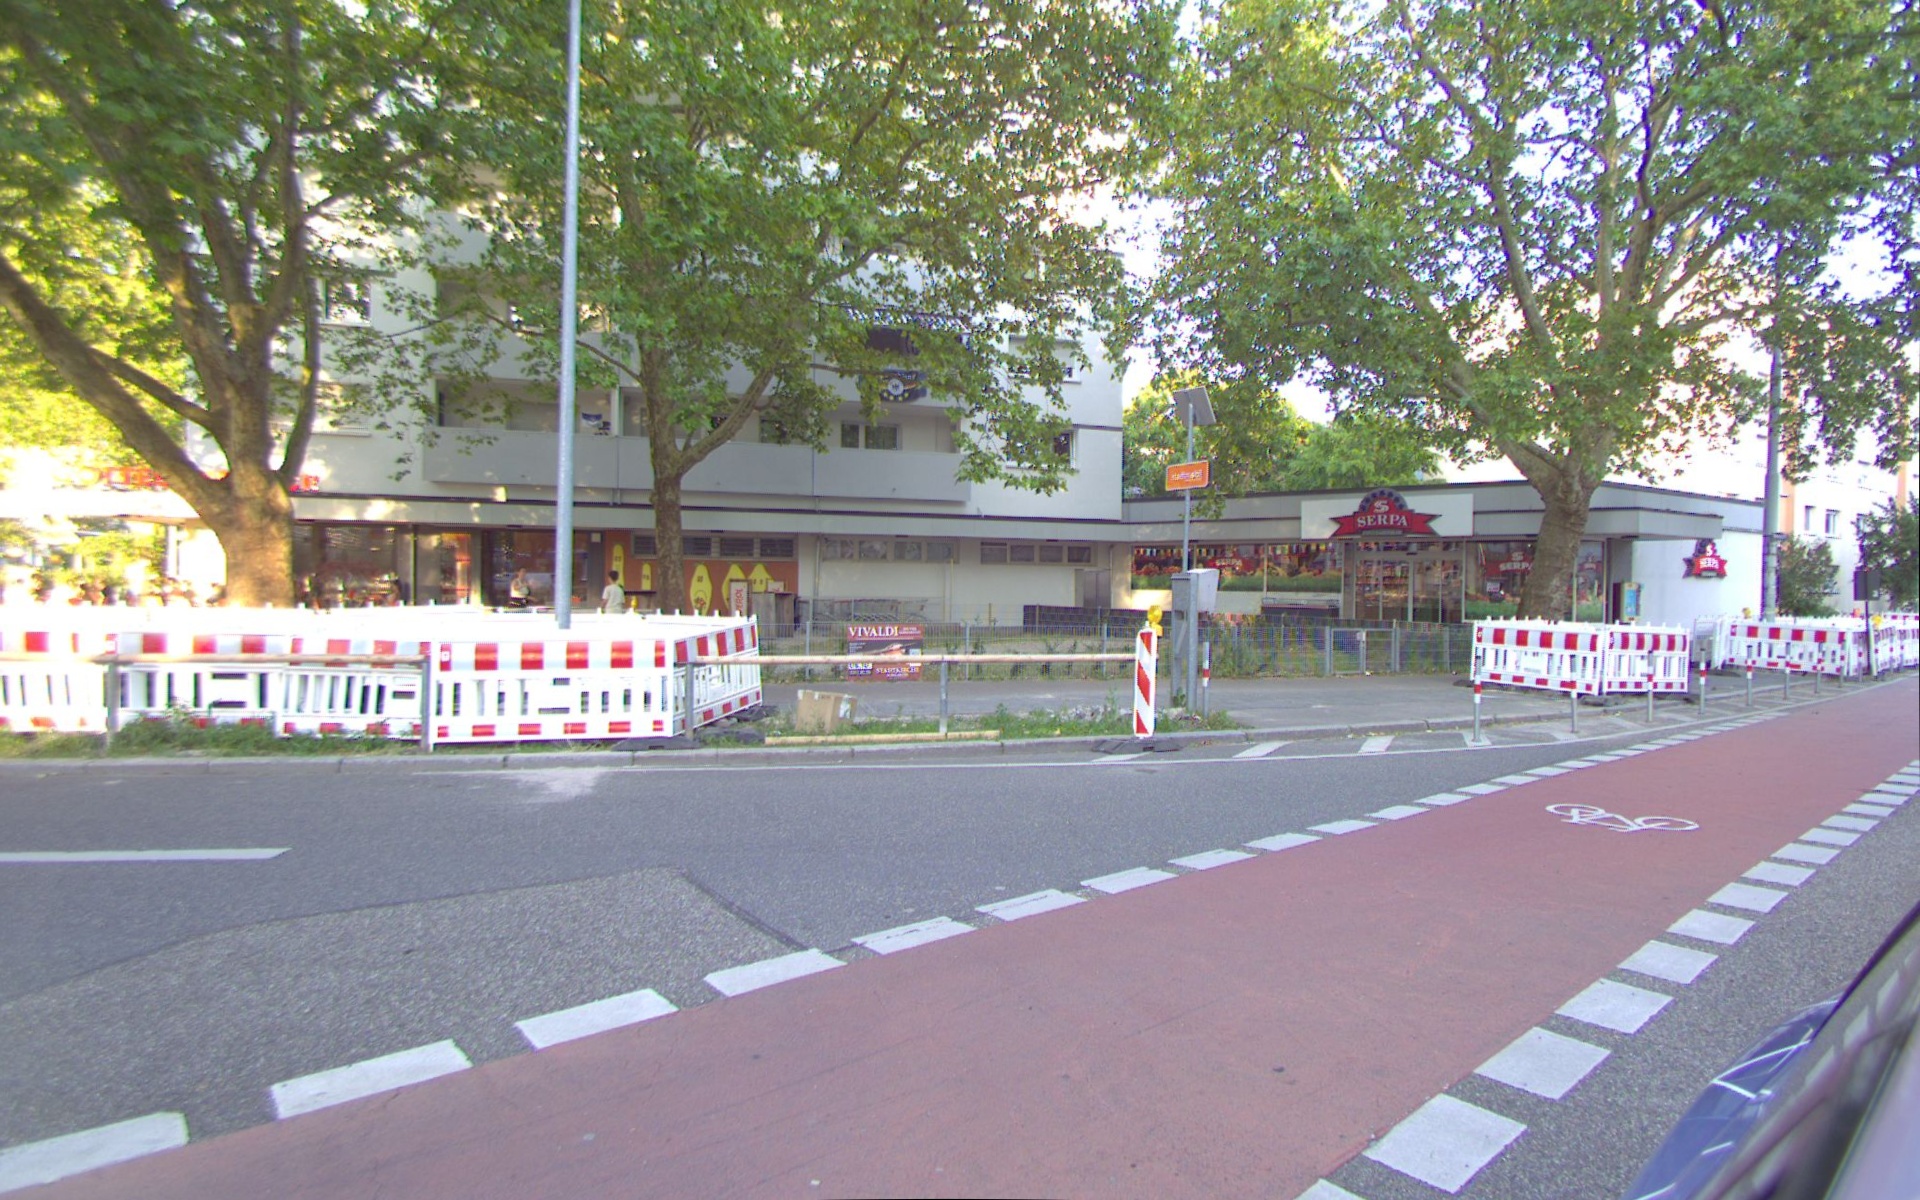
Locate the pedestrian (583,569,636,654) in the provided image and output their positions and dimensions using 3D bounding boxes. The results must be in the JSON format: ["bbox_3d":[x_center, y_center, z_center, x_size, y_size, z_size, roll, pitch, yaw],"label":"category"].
[{"bbox_3d":[-6.726,0.209,19.432,0.637,1.608,0.738,0,0,33],"label":"pedestrian"}]

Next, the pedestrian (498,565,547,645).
[{"bbox_3d":[-9.100,0.094,21.063,0.639,1.608,0.735,0,0,43],"label":"pedestrian"}]
